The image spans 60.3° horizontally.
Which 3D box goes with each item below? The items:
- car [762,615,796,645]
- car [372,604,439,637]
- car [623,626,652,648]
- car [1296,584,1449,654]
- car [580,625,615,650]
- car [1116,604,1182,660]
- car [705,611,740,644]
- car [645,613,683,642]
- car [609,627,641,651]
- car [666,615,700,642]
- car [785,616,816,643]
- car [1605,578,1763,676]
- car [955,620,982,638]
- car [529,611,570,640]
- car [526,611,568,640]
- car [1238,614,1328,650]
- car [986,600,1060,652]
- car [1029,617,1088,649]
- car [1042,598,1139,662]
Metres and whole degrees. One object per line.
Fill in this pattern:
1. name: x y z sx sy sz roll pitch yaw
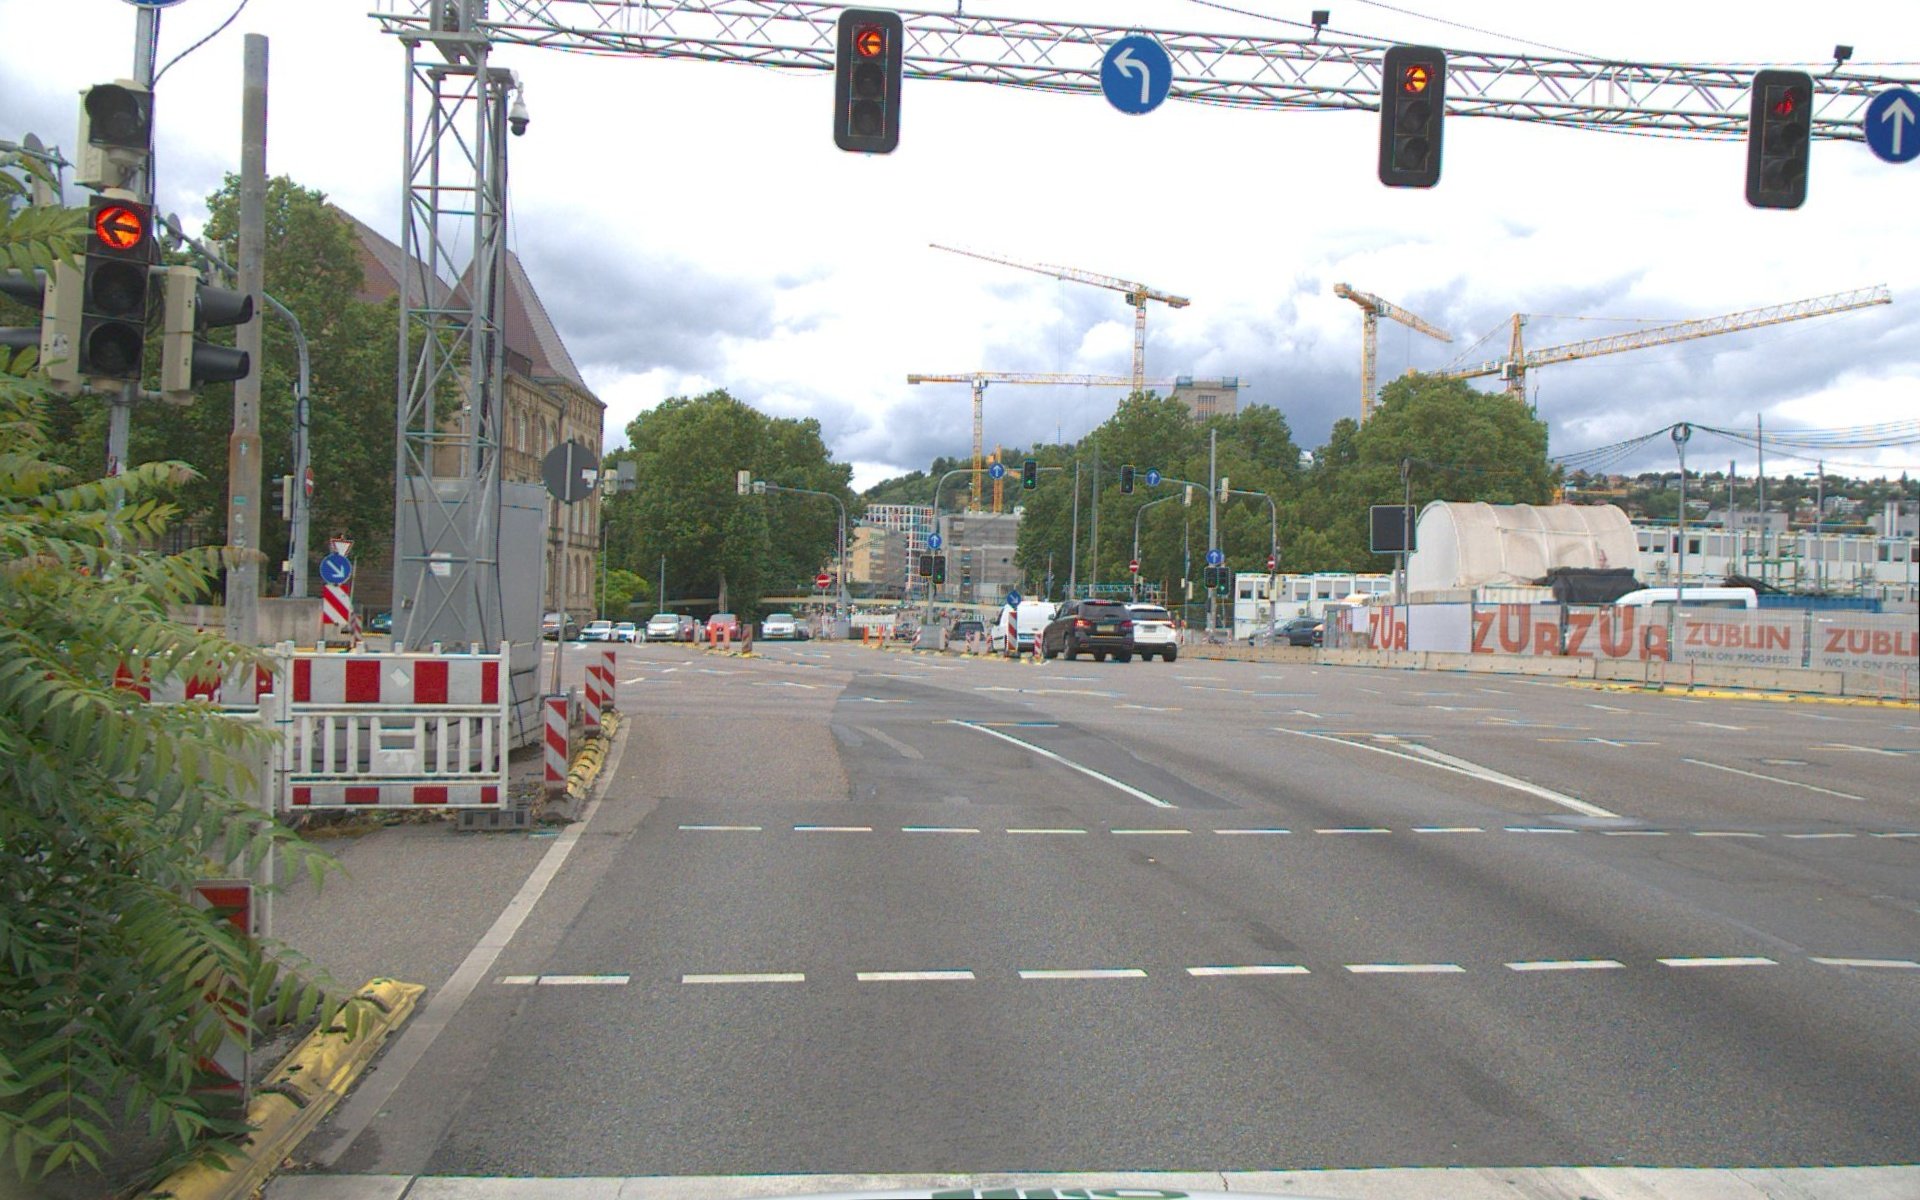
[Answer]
1. car: -9.296 1.523 84.868 1.644 1.422 3.677 1 0 -7
2. car: -24.846 0.908 74.200 1.641 1.422 3.683 1 0 1
3. car: -22.466 2.589 115.346 1.644 1.422 3.677 1 0 -7
4. car: 18.988 0.884 76.143 6.636 3.105 2.359 1 0 -19
5. car: -21.742 2.225 99.360 1.644 1.422 3.677 1 0 -7
6. car: 6.040 1.000 53.126 1.642 1.732 3.374 1 0 -1
7. car: -12.126 1.379 84.514 1.644 1.608 3.677 1 0 -7
8. car: -15.258 1.420 85.375 1.644 1.422 3.677 1 0 -7
9. car: -21.833 2.545 107.837 1.644 1.422 3.678 2 0 -6
10. car: -15.299 1.549 91.534 1.644 1.422 3.677 1 0 -7
11. car: -9.062 1.658 93.699 1.644 1.422 3.677 1 0 -7
12. car: 20.822 0.751 47.680 3.902 2.708 1.683 1 0 13
13. car: 0.578 1.933 112.300 1.284 1.093 3.676 1 0 -8
14. car: -21.630 1.336 87.275 1.644 1.422 3.677 1 0 -7
15. car: -21.480 1.314 86.140 1.644 1.422 3.677 1 0 -7
16. car: 15.616 1.530 80.060 3.927 1.653 1.812 1 0 -20
17. car: 2.079 0.852 55.547 1.783 1.653 3.993 1 0 -8
18. car: 4.509 1.511 76.036 1.650 1.422 3.070 1 0 -19
19. car: 3.777 0.842 48.527 1.799 1.776 4.245 1 0 -10
